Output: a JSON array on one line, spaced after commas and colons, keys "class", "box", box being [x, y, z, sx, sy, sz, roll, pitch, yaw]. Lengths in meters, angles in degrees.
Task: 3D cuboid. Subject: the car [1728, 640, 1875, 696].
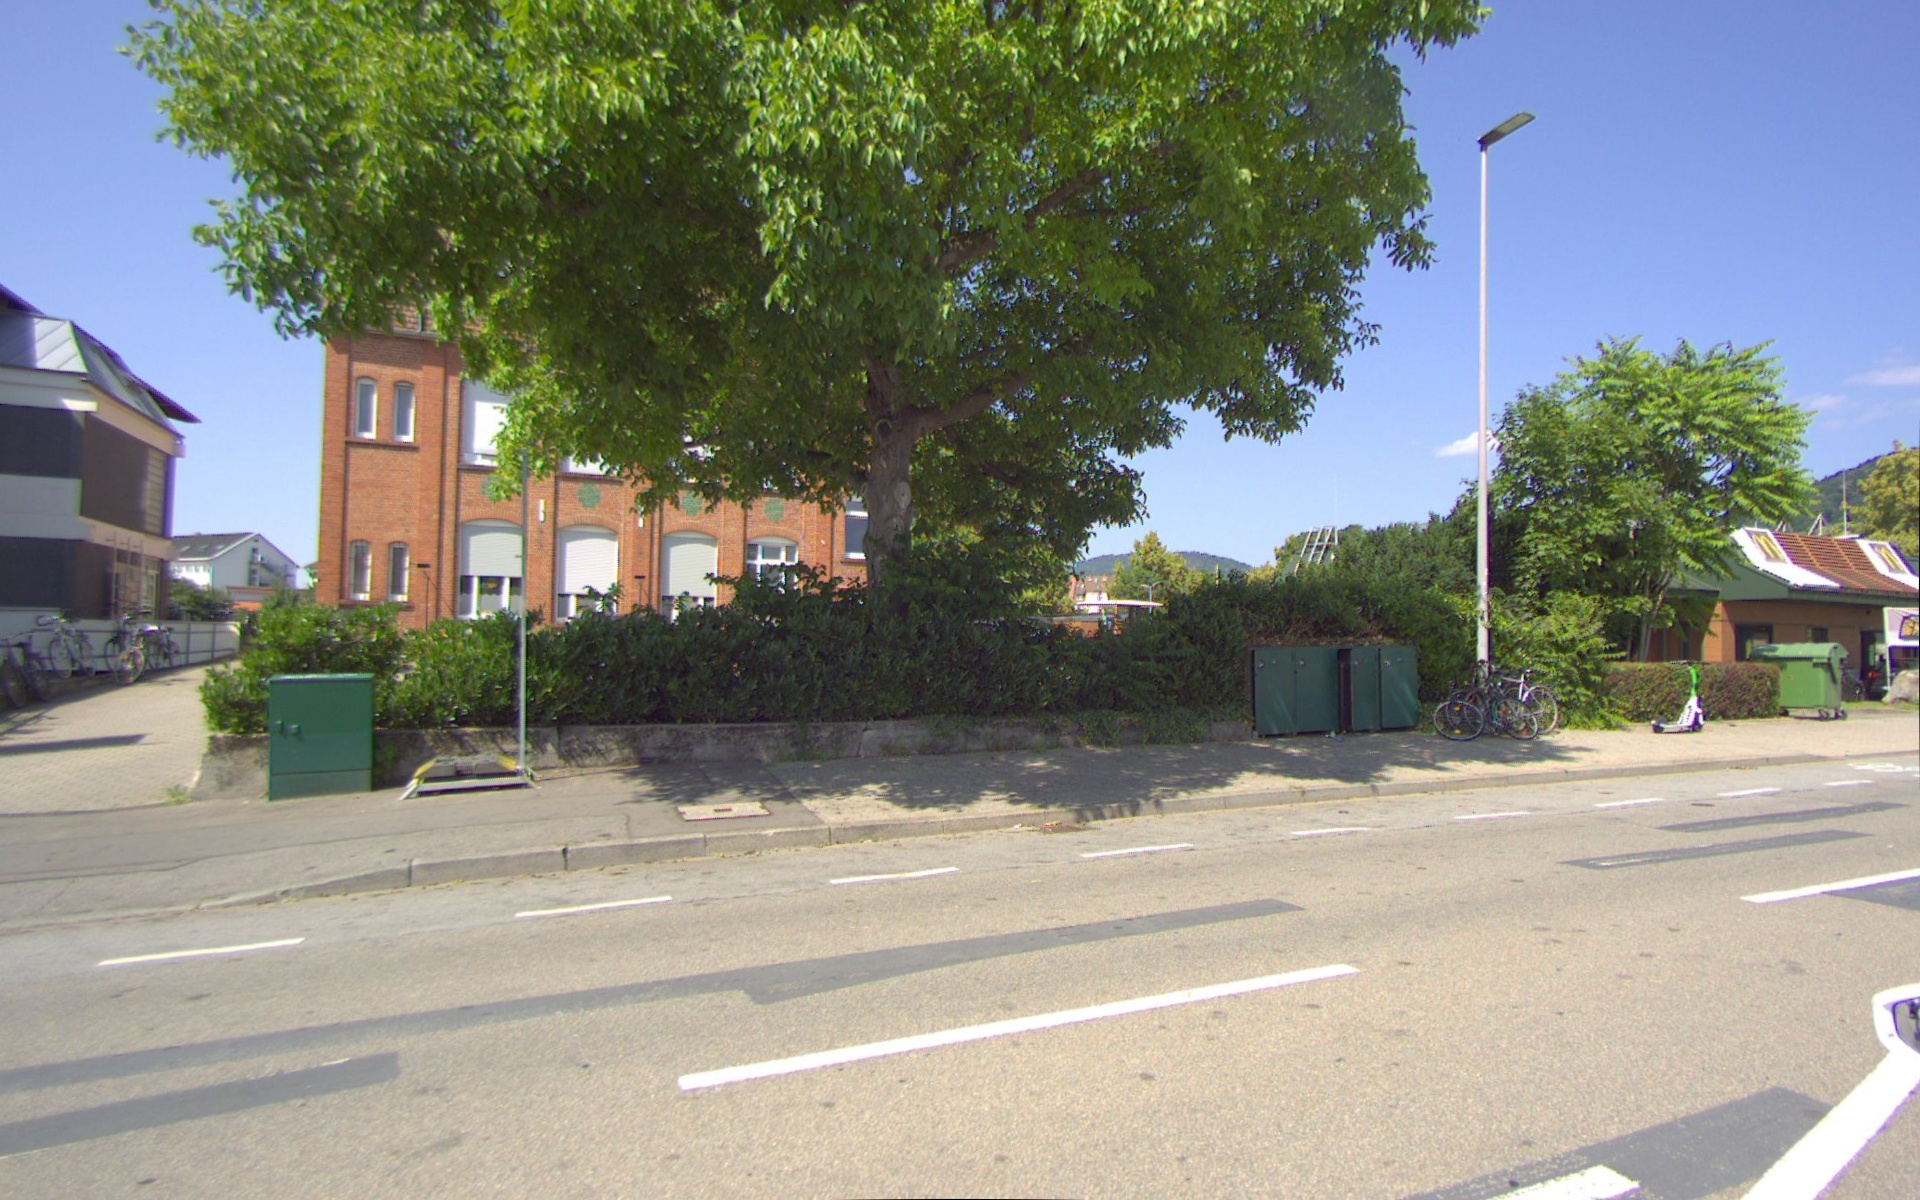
[{"class": "car", "box": [25.356, 2.009, 30.258, 4.263, 1.496, 1.821, 1, 0, -26]}]

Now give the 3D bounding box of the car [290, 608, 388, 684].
[{"class": "car", "box": [-14.681, 1.037, 23.904, 1.605, 1.558, 3.971, 3, 0, -27]}]

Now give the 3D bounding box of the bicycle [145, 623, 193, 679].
[{"class": "bicycle", "box": [-17.071, 1.074, 21.694, 0.507, 1.115, 1.625, 1, 1, -27]}]

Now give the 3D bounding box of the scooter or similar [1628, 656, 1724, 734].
[{"class": "scooter or similar", "box": [11.554, 1.508, 16.196, 1.604, 1.143, 0.643, 1, 1, -30]}]

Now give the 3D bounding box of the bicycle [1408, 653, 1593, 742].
[{"class": "bicycle", "box": [8.028, 1.398, 14.901, 2.730, 1.133, 1.023, 1, 1, -27]}]

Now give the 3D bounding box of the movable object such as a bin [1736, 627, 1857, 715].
[{"class": "movable object such as a bin", "box": [16.225, 1.349, 19.510, 1.293, 1.611, 1.440, 1, -3, -32]}]

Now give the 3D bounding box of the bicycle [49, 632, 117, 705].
[{"class": "bicycle", "box": [-15.018, 1.151, 17.235, 0.507, 1.115, 1.625, 1, 1, -27]}]

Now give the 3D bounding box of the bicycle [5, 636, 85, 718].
[{"class": "bicycle", "box": [-14.192, 1.161, 15.610, 0.507, 1.115, 1.625, 1, 1, -27]}]

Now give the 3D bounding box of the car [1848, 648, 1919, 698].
[{"class": "car", "box": [31.464, 2.346, 32.882, 4.069, 1.435, 1.990, 1, 0, -22]}]

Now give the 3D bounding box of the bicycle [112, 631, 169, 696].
[{"class": "bicycle", "box": [-15.471, 1.174, 18.985, 0.507, 1.115, 1.625, 1, 1, -27]}]

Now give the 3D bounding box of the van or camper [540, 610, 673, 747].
[{"class": "van or camper", "box": [-5.141, 1.008, 14.507, 1.609, 1.687, 3.386, 0, 0, -21]}]
